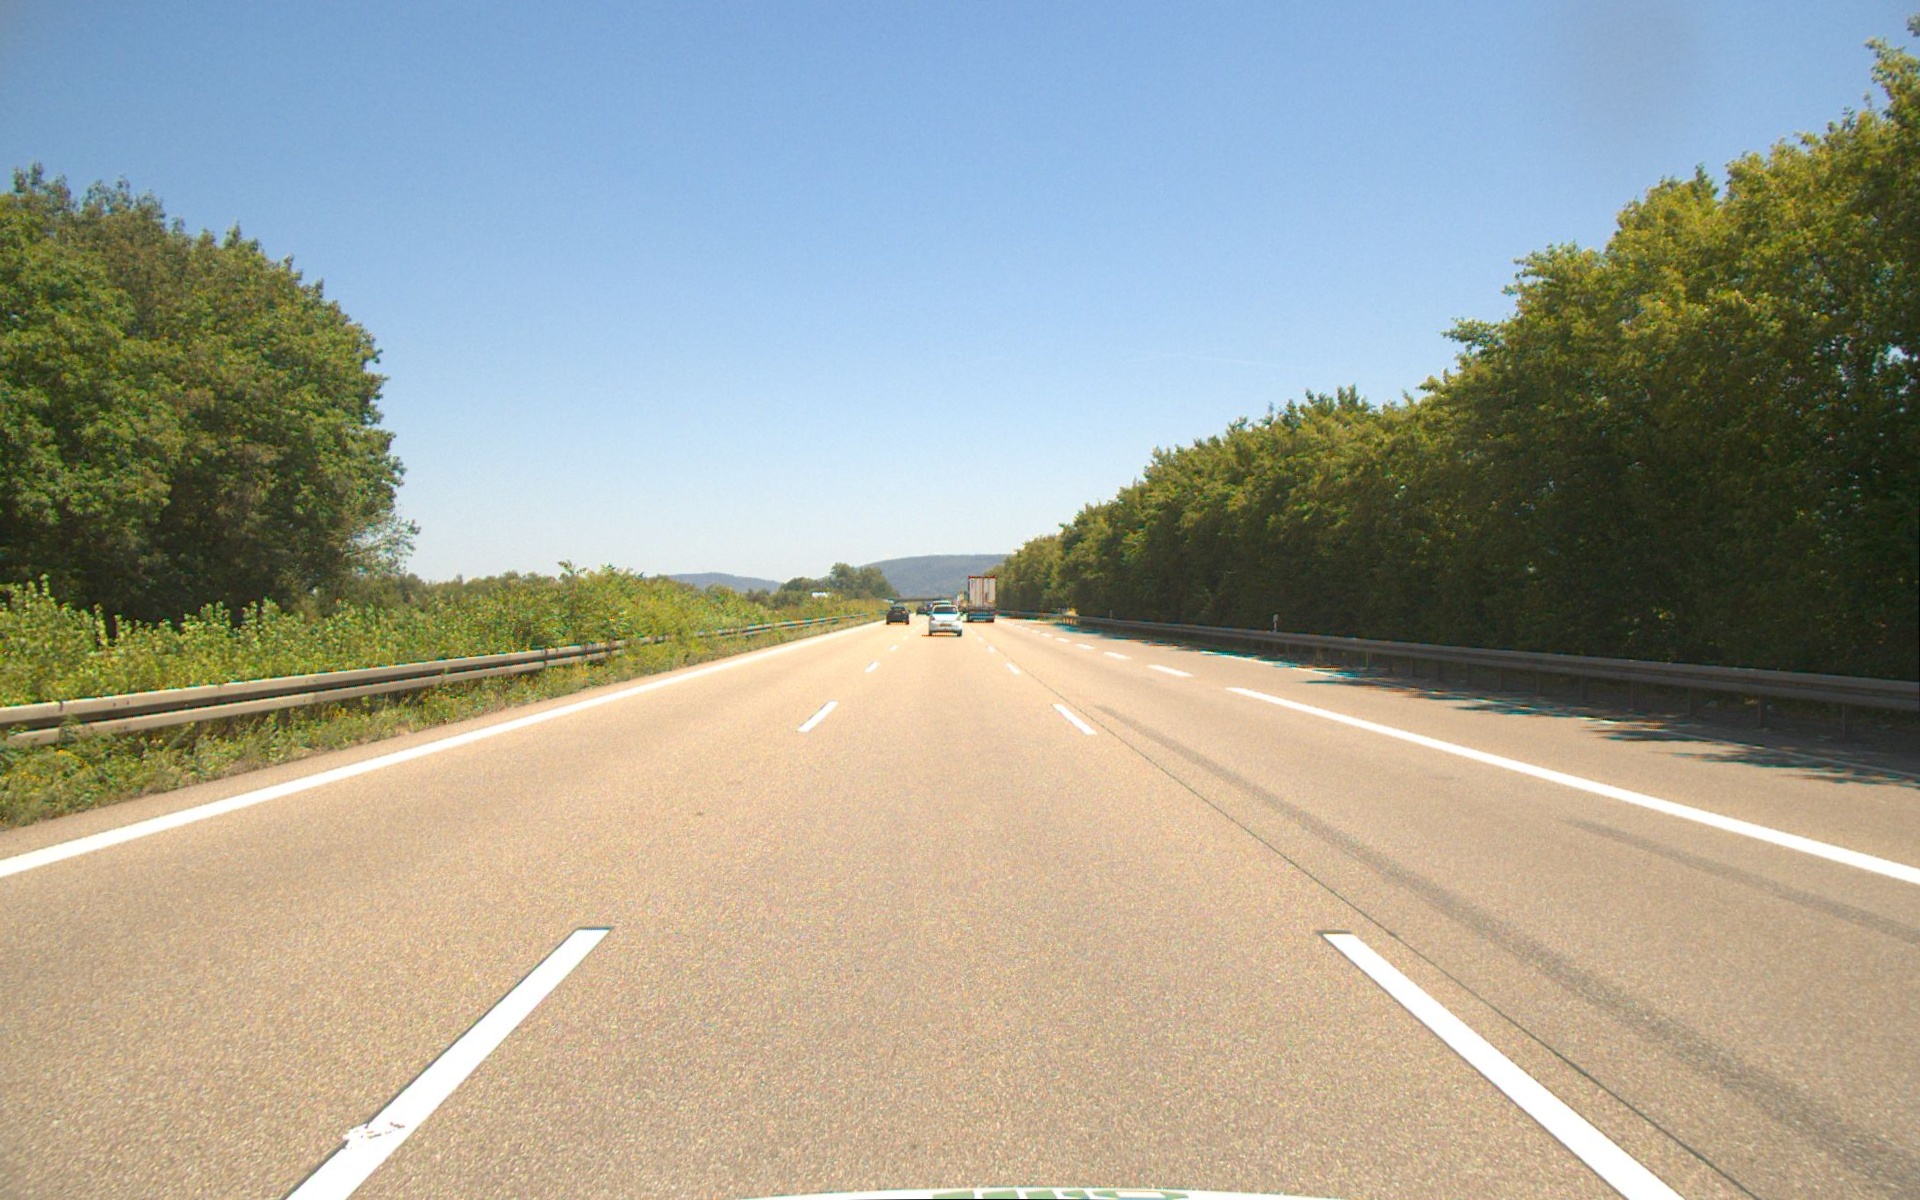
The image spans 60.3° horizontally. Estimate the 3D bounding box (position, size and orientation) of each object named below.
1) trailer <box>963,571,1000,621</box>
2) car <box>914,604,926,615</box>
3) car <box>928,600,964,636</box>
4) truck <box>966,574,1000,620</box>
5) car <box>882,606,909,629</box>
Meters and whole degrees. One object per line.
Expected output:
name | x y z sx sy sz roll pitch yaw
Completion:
trailer | 2.050 -0.326 154.986 3.151 4.421 13.631 1 0 2
car | -5.827 1.335 240.198 1.759 1.578 3.999 0 -1 -1
car | -0.725 0.861 82.473 1.697 1.713 3.999 -1 0 -1
truck | 2.251 -0.283 162.162 3.151 4.421 6.591 1 0 2
car | -4.970 1.325 128.194 1.953 1.742 3.999 1 0 -2
